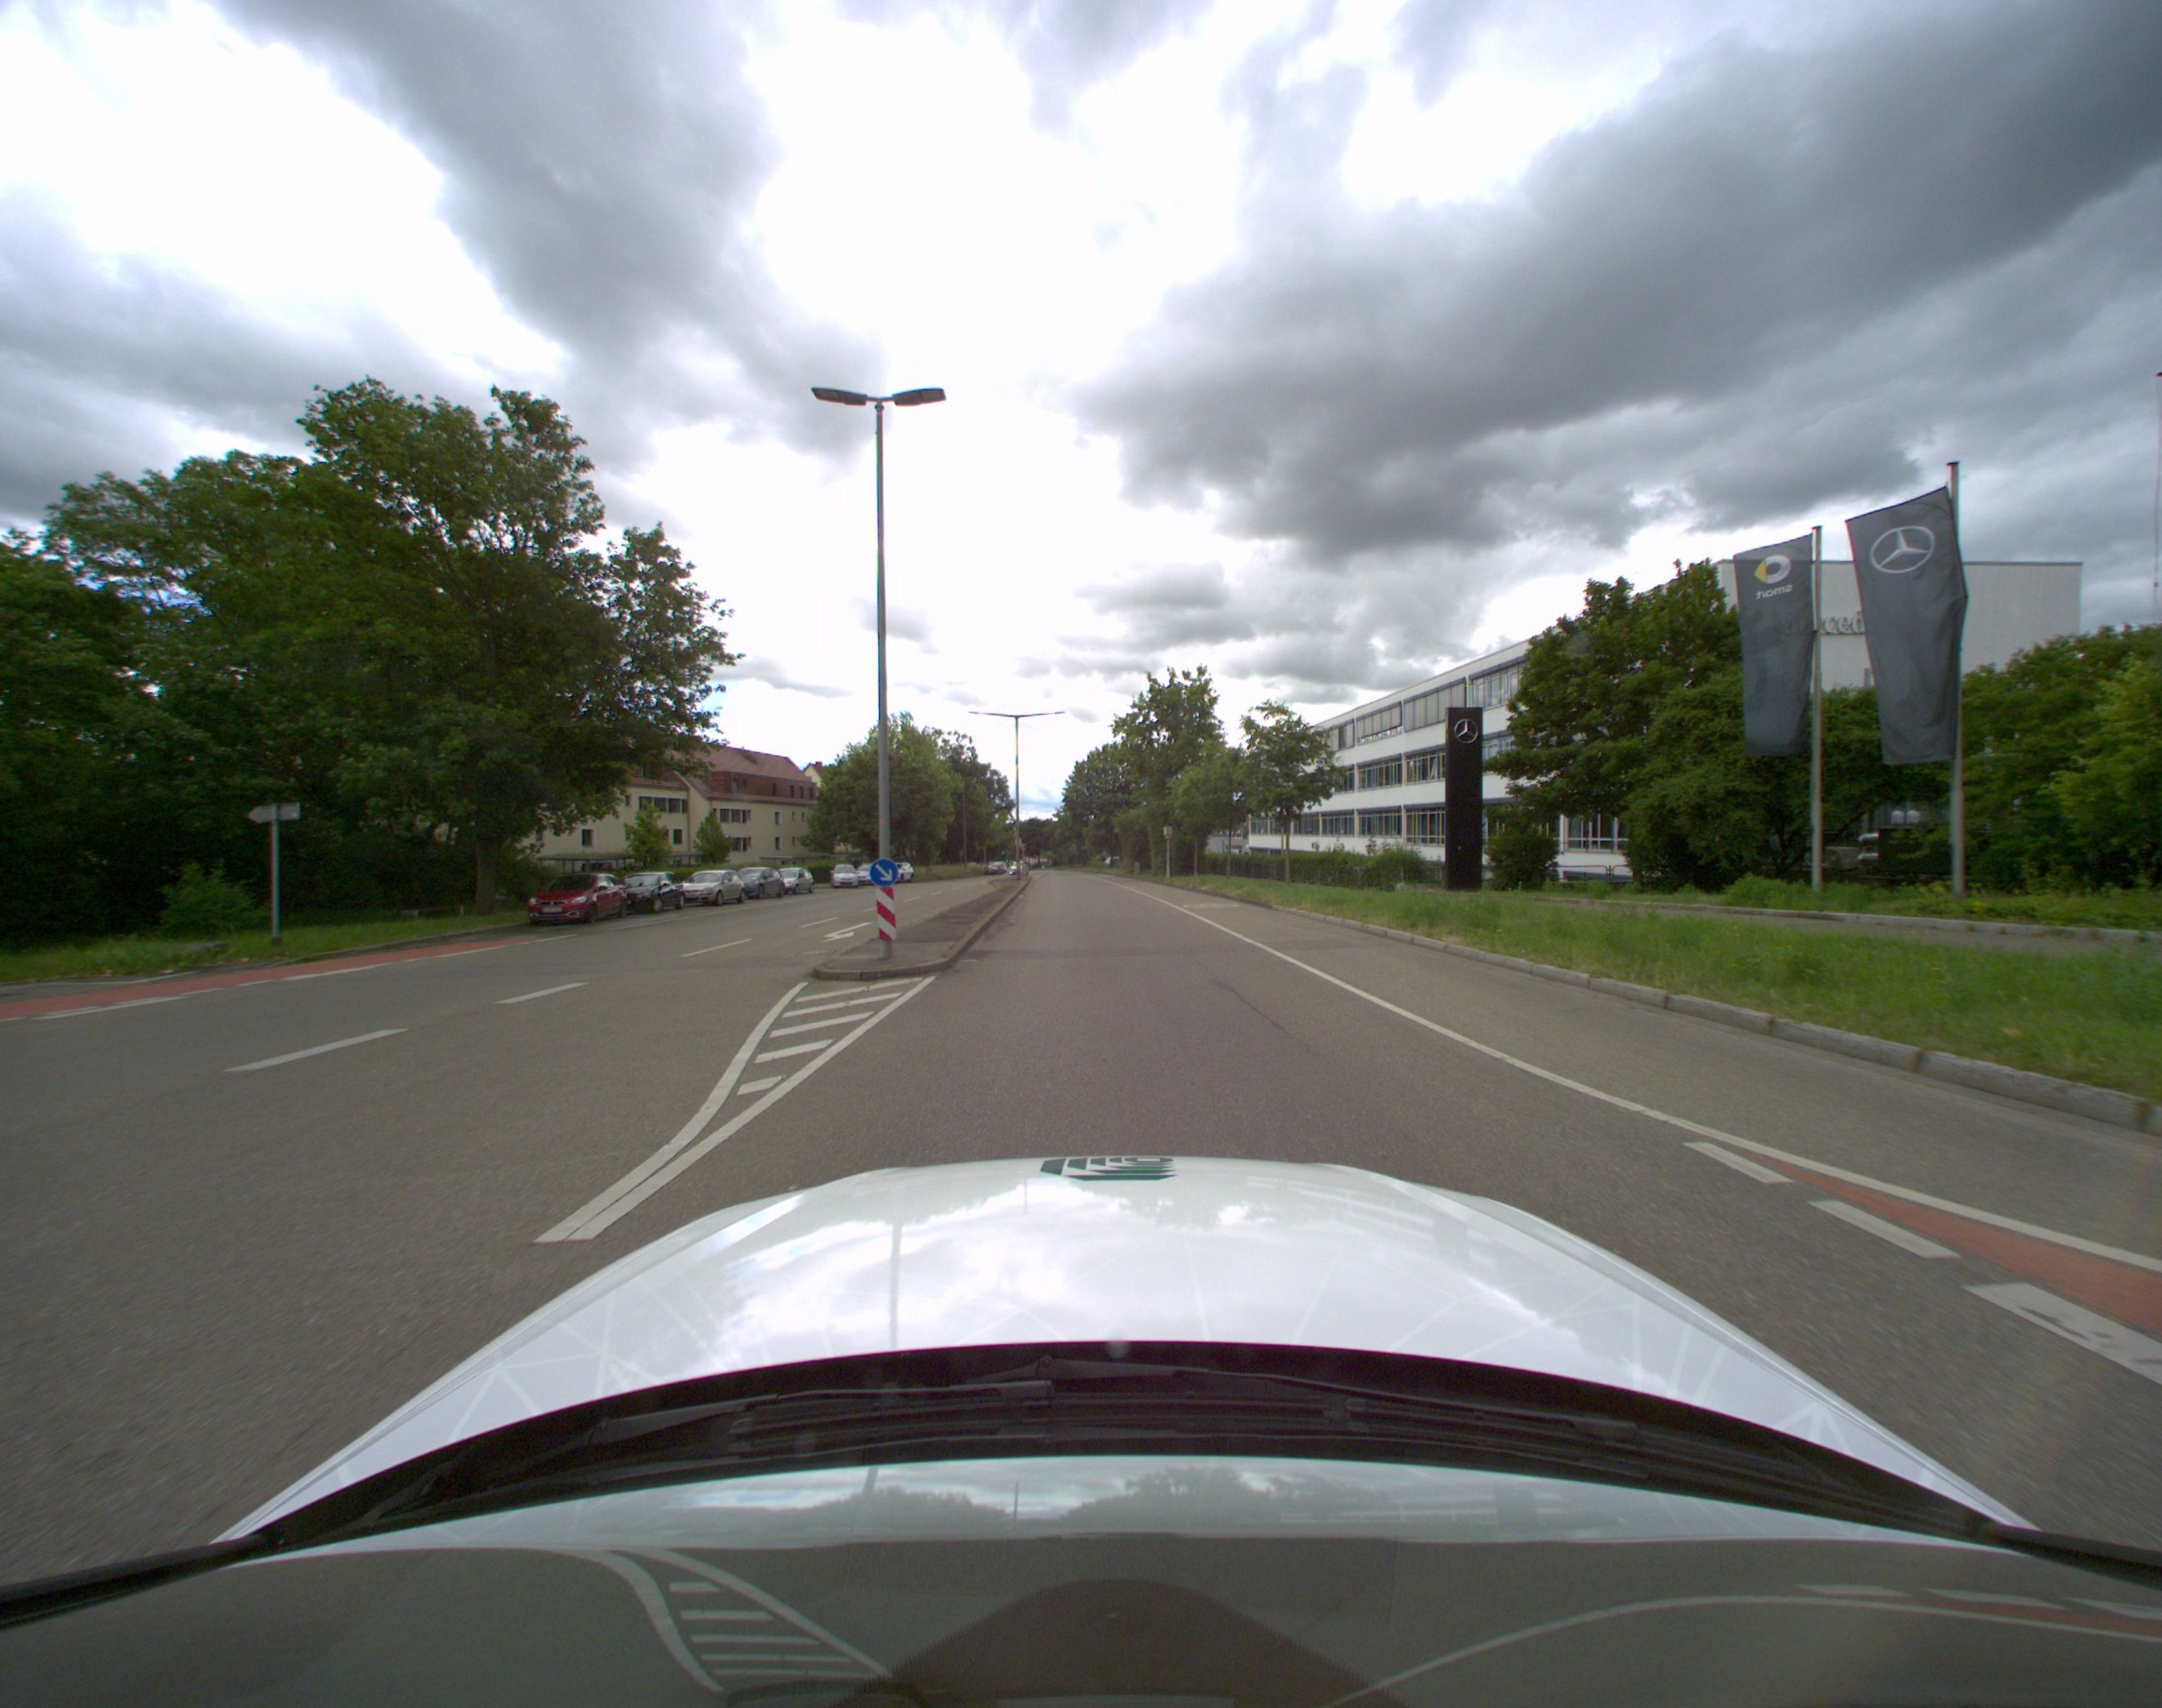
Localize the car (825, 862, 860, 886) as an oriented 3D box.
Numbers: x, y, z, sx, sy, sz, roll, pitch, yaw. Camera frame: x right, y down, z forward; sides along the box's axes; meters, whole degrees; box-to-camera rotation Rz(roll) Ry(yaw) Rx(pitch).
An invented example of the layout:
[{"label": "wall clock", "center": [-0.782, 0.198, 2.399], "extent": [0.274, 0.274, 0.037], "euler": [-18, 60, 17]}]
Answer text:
[{"label": "car", "center": [-16.078, 1.320, 54.783], "extent": [1.882, 1.507, 3.972], "euler": [-2, 0, -21]}]

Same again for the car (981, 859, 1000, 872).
[{"label": "car", "center": [-11.500, 1.424, 103.932], "extent": [1.869, 1.570, 4.649], "euler": [-1, -1, 0]}]

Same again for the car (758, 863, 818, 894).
[{"label": "car", "center": [-16.262, 1.327, 45.395], "extent": [1.869, 1.507, 3.999], "euler": [-2, 0, -1]}]

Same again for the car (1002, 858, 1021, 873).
[{"label": "car", "center": [-7.998, 1.338, 93.849], "extent": [1.869, 1.570, 4.337], "euler": [-1, -1, 0]}]

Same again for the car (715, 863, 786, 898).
[{"label": "car", "center": [-16.167, 1.269, 40.036], "extent": [1.870, 1.507, 3.998], "euler": [-1, 0, -1]}]

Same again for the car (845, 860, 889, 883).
[{"label": "car", "center": [-15.606, 1.269, 59.660], "extent": [1.866, 1.597, 4.005], "euler": [-1, -1, 5]}]

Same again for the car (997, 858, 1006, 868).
[{"label": "car", "center": [-14.005, 1.613, 143.521], "extent": [1.671, 1.564, 4.272], "euler": [-2, -1, -6]}]

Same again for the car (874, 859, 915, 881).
[{"label": "car", "center": [-14.769, 1.289, 64.699], "extent": [1.866, 1.667, 4.396], "euler": [-1, -1, 5]}]

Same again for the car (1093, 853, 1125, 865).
[{"label": "car", "center": [5.700, 0.956, 162.864], "extent": [6.046, 2.367, 2.340], "euler": [0, -1, -29]}]

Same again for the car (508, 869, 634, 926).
[{"label": "car", "center": [-15.550, 1.259, 25.068], "extent": [1.875, 1.507, 3.876], "euler": [-1, 0, -9]}]

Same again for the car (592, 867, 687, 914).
[{"label": "car", "center": [-15.884, 1.268, 29.520], "extent": [1.876, 1.507, 3.984], "euler": [-1, 0, -11]}]

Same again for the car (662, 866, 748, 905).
[{"label": "car", "center": [-15.754, 1.277, 34.370], "extent": [1.871, 1.507, 4.052], "euler": [-1, 0, -3]}]
